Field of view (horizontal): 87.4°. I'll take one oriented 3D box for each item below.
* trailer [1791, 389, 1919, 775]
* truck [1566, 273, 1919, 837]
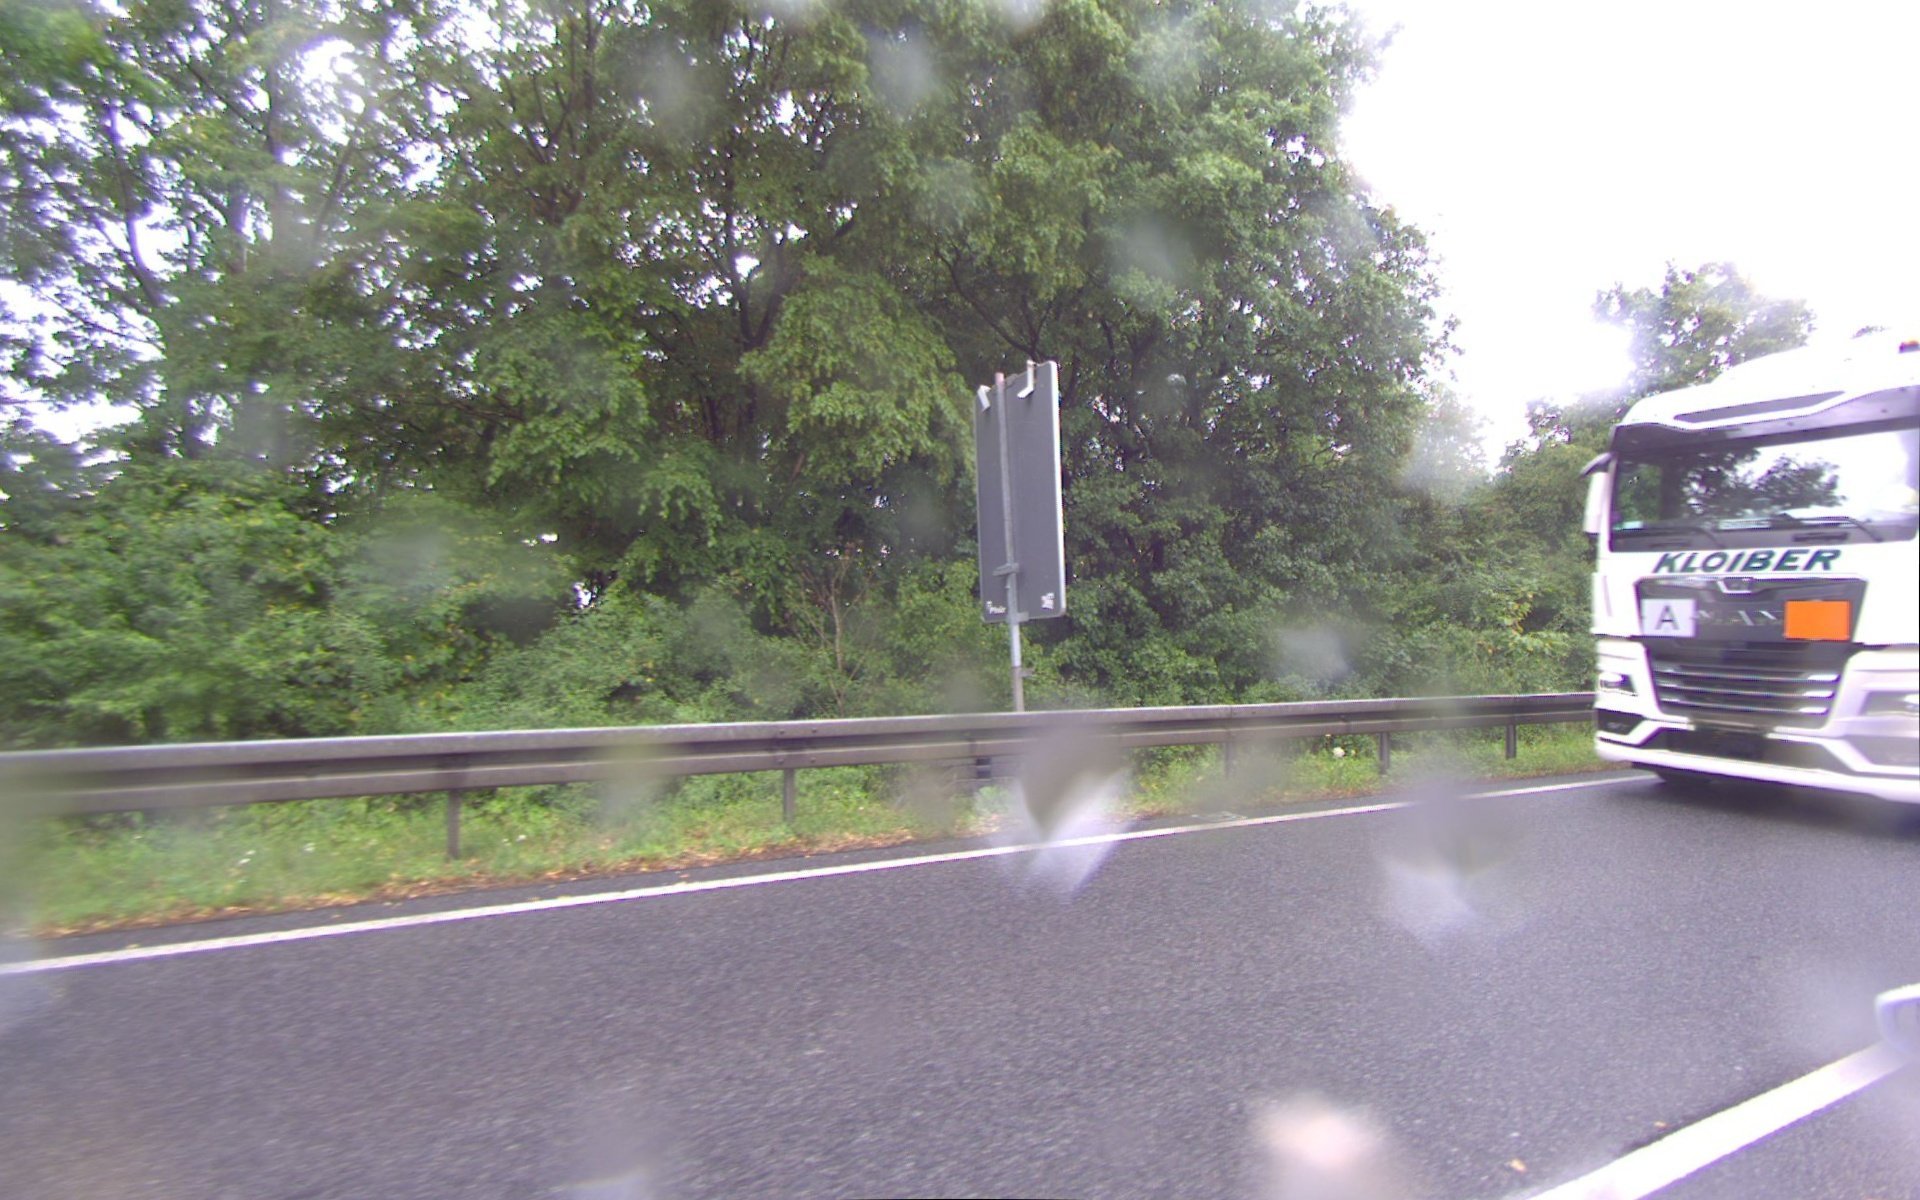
[{"bbox_3d":[13.131,-0.054,11.752,7.696,3.876,2.525,2,0,-29],"label":"trailer"},{"bbox_3d":[8.349,-0.243,9.123,5.180,3.876,2.526,2,0,-28],"label":"truck"}]
